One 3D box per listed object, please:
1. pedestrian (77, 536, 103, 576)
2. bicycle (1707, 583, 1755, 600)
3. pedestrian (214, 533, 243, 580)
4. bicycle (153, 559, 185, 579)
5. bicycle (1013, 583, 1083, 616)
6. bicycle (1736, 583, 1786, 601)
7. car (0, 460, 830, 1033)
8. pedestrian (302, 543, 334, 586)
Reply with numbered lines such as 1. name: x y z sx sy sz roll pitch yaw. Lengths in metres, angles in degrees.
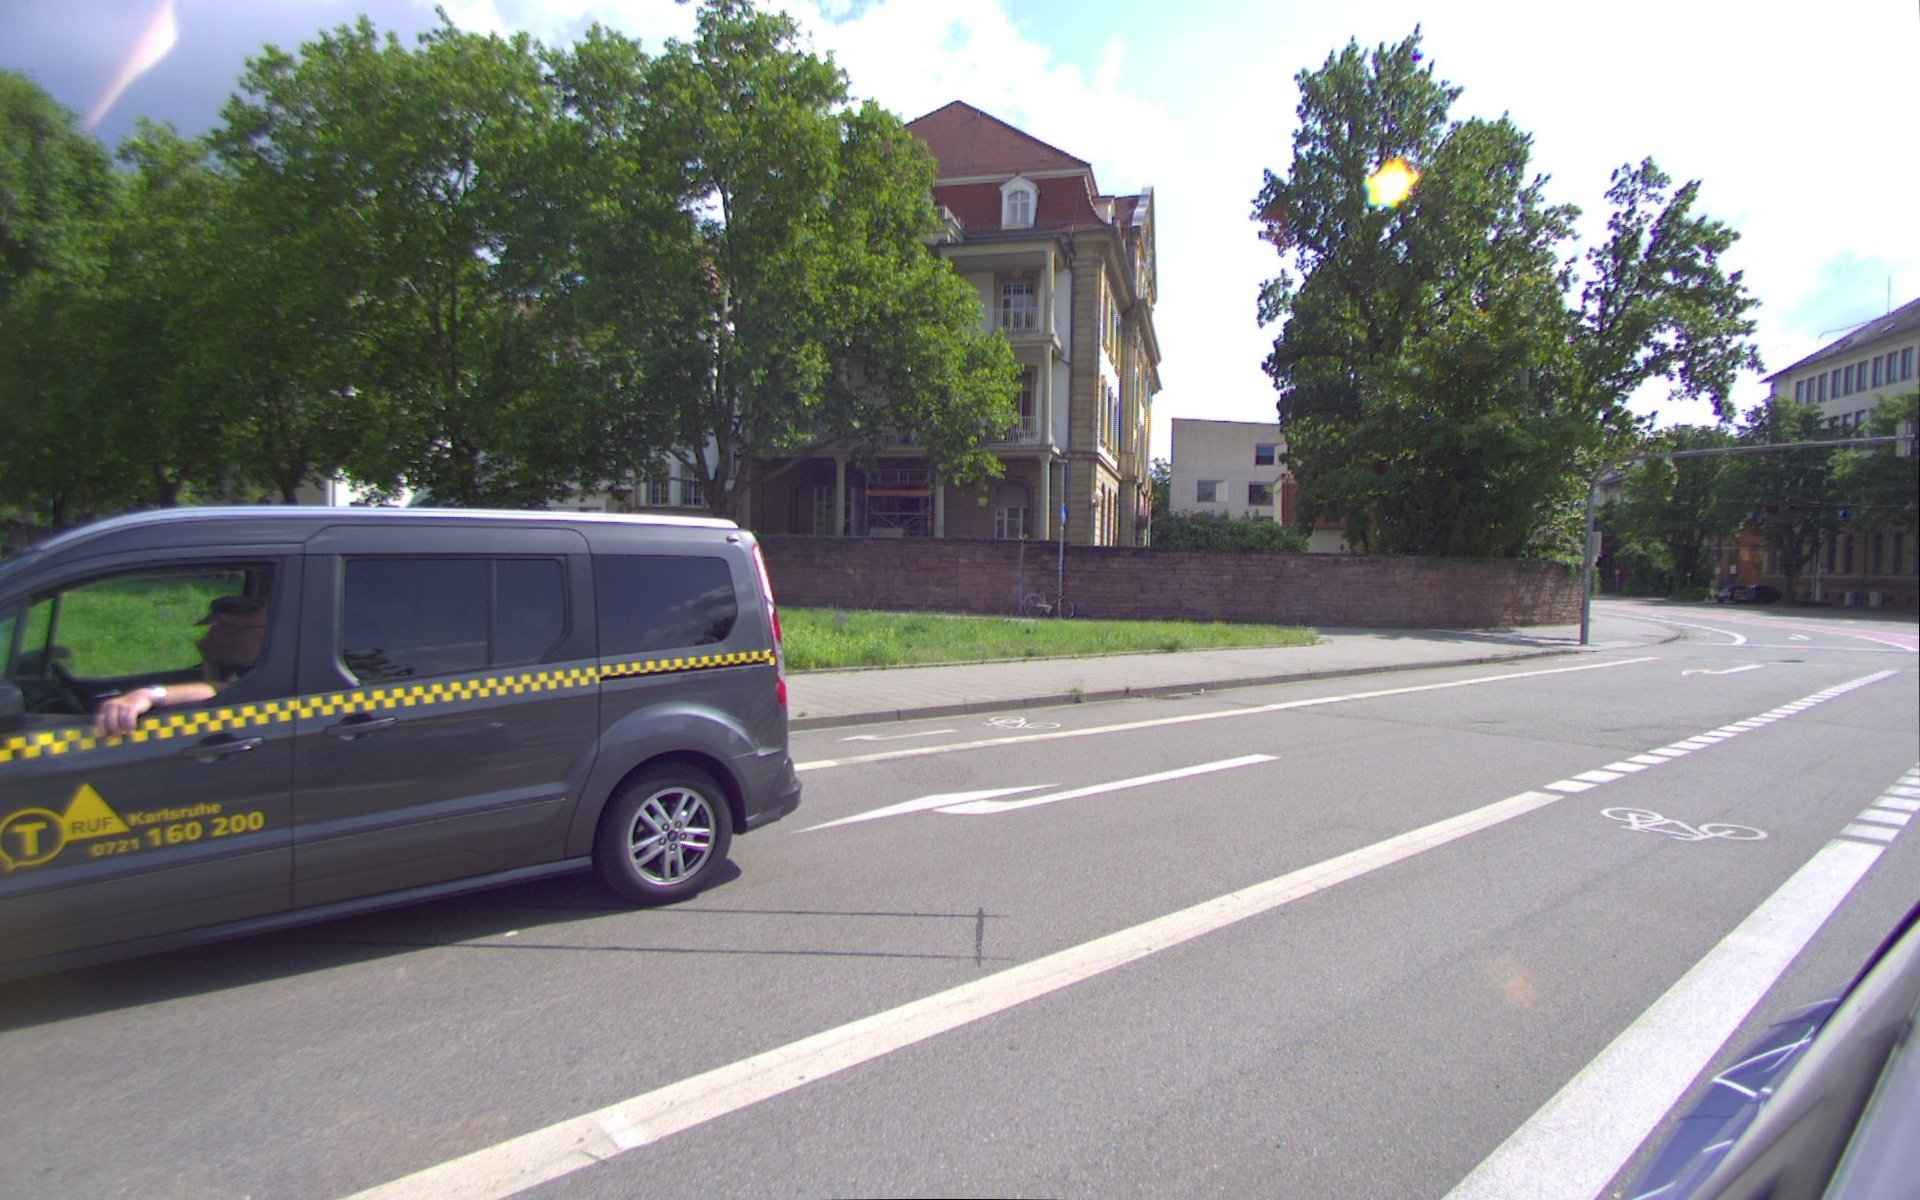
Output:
1. pedestrian: -39.650 -2.016 46.130 0.871 1.802 0.770 0 2 -40
2. bicycle: 63.085 -0.691 82.815 1.053 1.221 2.898 -4 5 -33
3. pedestrian: -27.644 -1.658 38.258 0.736 1.744 0.657 3 2 30
4. bicycle: -34.302 -1.344 43.889 0.478 0.859 0.964 2 2 27
5. bicycle: 2.597 -0.021 30.065 2.023 0.871 0.859 2 4 3
6. bicycle: 62.977 -0.643 79.585 1.030 1.221 2.898 -4 5 -33
7. car: -3.014 0.442 4.398 4.588 1.807 1.853 0 1 -39
8. pedestrian: -23.745 -1.321 37.449 0.715 1.552 0.722 2 2 18
